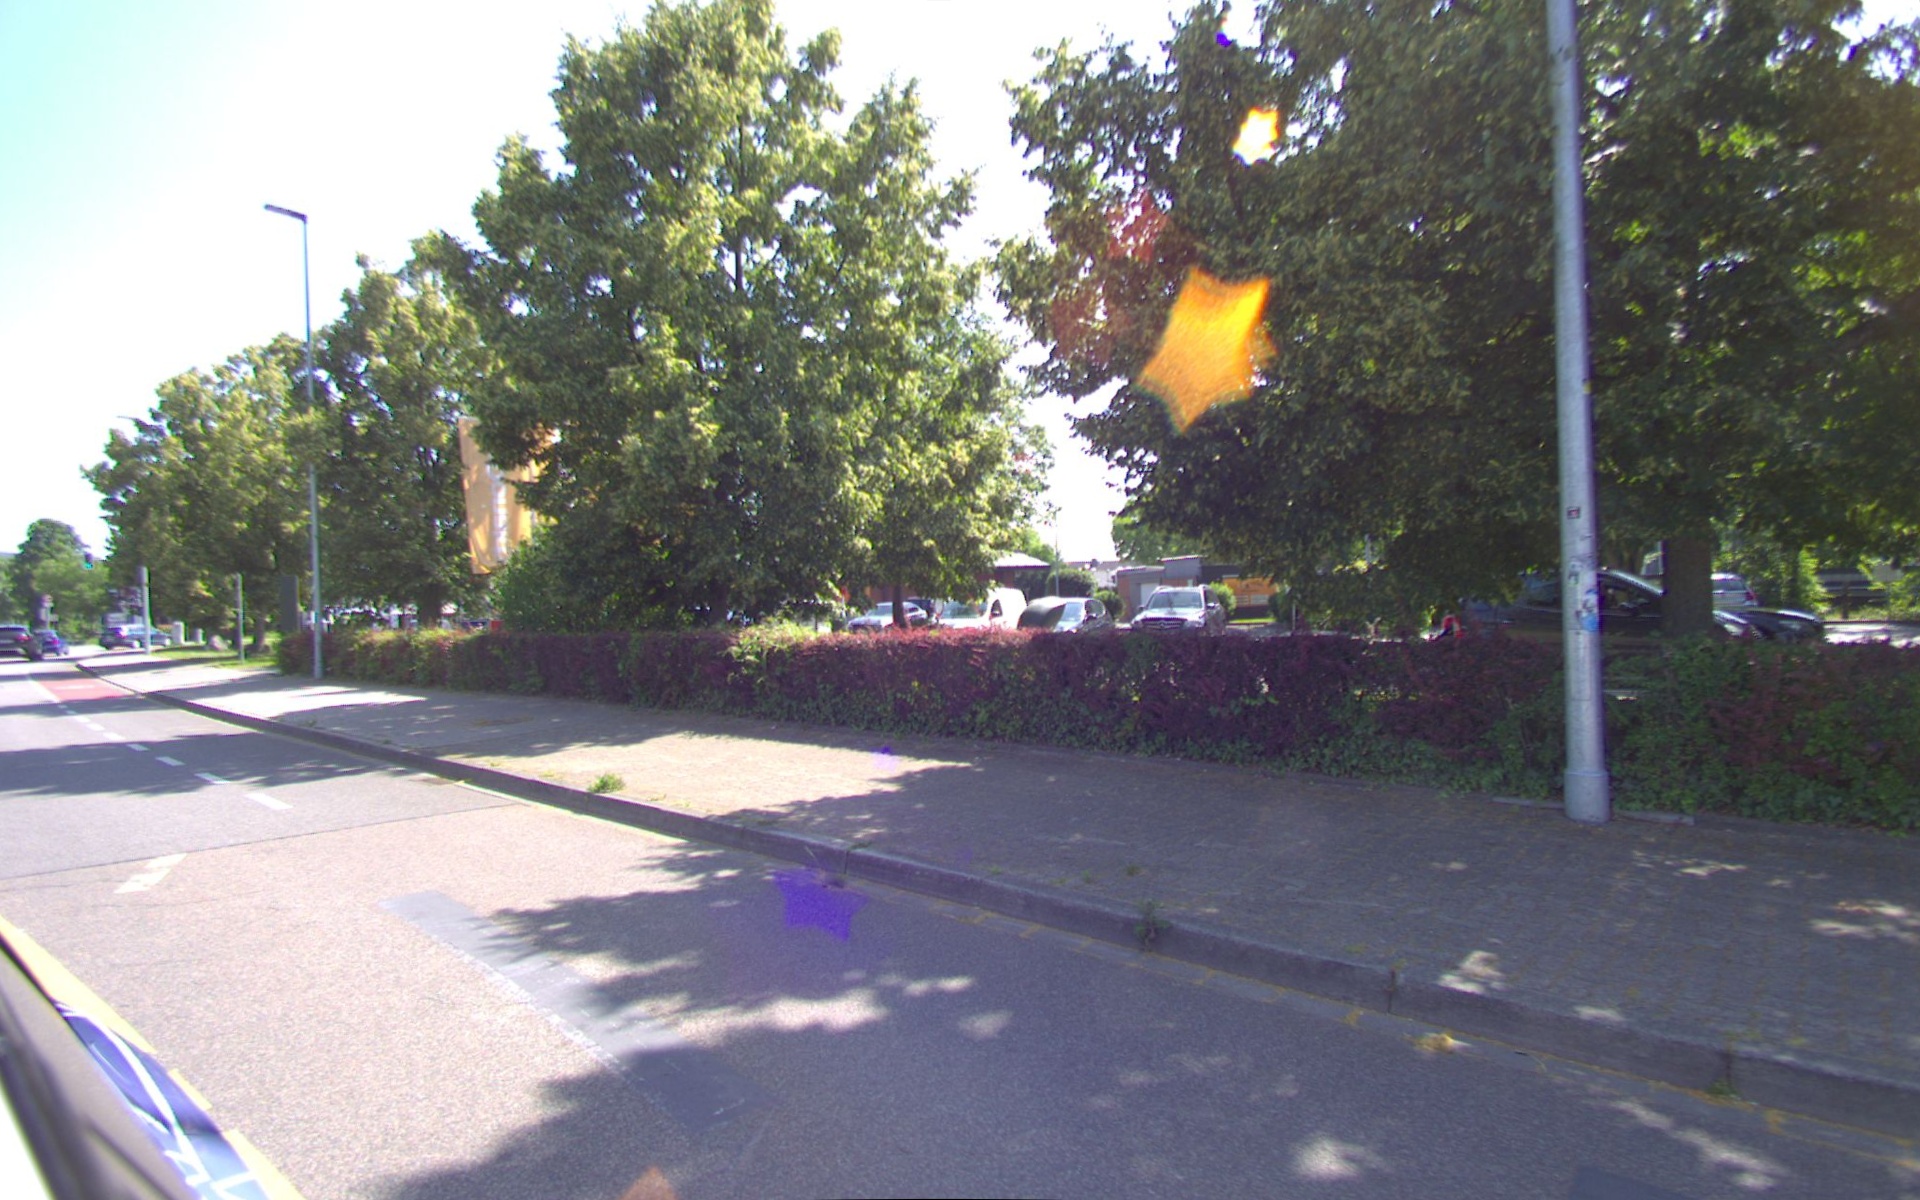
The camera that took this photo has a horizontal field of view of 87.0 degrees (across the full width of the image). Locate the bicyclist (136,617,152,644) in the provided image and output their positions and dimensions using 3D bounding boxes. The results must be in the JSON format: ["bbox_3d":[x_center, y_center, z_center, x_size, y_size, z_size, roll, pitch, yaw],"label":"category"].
[{"bbox_3d":[-55.152,2.042,68.368,0.700,1.802,0.811,-1,-1,-30],"label":"bicyclist"}]

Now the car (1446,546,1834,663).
[{"bbox_3d":[10.174,0.125,15.416,4.656,1.522,1.763,-3,-1,43],"label":"car"}]

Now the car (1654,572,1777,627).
[{"bbox_3d":[20.461,-0.013,27.582,1.574,1.348,3.972,-2,-1,21],"label":"car"}]

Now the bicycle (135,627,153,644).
[{"bbox_3d":[-55.150,2.388,68.407,0.687,1.113,1.760,0,-2,-30],"label":"bicycle"}]

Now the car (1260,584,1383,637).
[{"bbox_3d":[11.479,0.325,32.163,3.375,1.538,1.506,-2,-1,-16],"label":"car"}]

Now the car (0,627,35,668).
[{"bbox_3d":[-41.868,2.087,44.315,1.926,1.708,4.619,-1,-1,-42],"label":"car"}]

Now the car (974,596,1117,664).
[{"bbox_3d":[2.123,0.671,24.091,1.886,1.471,3.960,-2,-1,29],"label":"car"}]

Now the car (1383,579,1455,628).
[{"bbox_3d":[16.380,0.104,36.030,1.793,1.610,3.956,-2,-1,32],"label":"car"}]

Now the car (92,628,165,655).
[{"bbox_3d":[-52.050,2.588,63.484,1.755,1.508,4.736,-2,-1,-15],"label":"car"}]

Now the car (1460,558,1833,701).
[{"bbox_3d":[8.902,0.380,13.337,1.662,1.615,3.760,-1,-1,-43],"label":"car"}]

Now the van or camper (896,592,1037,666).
[{"bbox_3d":[0.270,0.707,26.494,1.990,1.753,4.246,-2,-1,27],"label":"van or camper"}]

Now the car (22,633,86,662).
[{"bbox_3d":[-47.864,2.498,53.539,1.633,1.391,4.012,-1,-1,-28],"label":"car"}]

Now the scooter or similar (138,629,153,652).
[{"bbox_3d":[-43.532,2.148,54.100,0.465,1.193,1.369,-1,-1,-32],"label":"scooter or similar"}]

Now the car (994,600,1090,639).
[{"bbox_3d":[3.147,0.764,39.078,3.331,1.386,1.575,-2,-1,30],"label":"car"}]

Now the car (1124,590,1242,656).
[{"bbox_3d":[5.721,0.546,25.622,1.734,1.538,3.959,-2,-1,30],"label":"car"}]

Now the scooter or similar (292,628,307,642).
[{"bbox_3d":[-55.734,2.986,85.383,0.492,1.132,1.507,-2,-1,-10],"label":"scooter or similar"}]

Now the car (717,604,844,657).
[{"bbox_3d":[-6.432,1.080,36.206,4.220,1.748,1.705,-2,-1,23],"label":"car"}]
